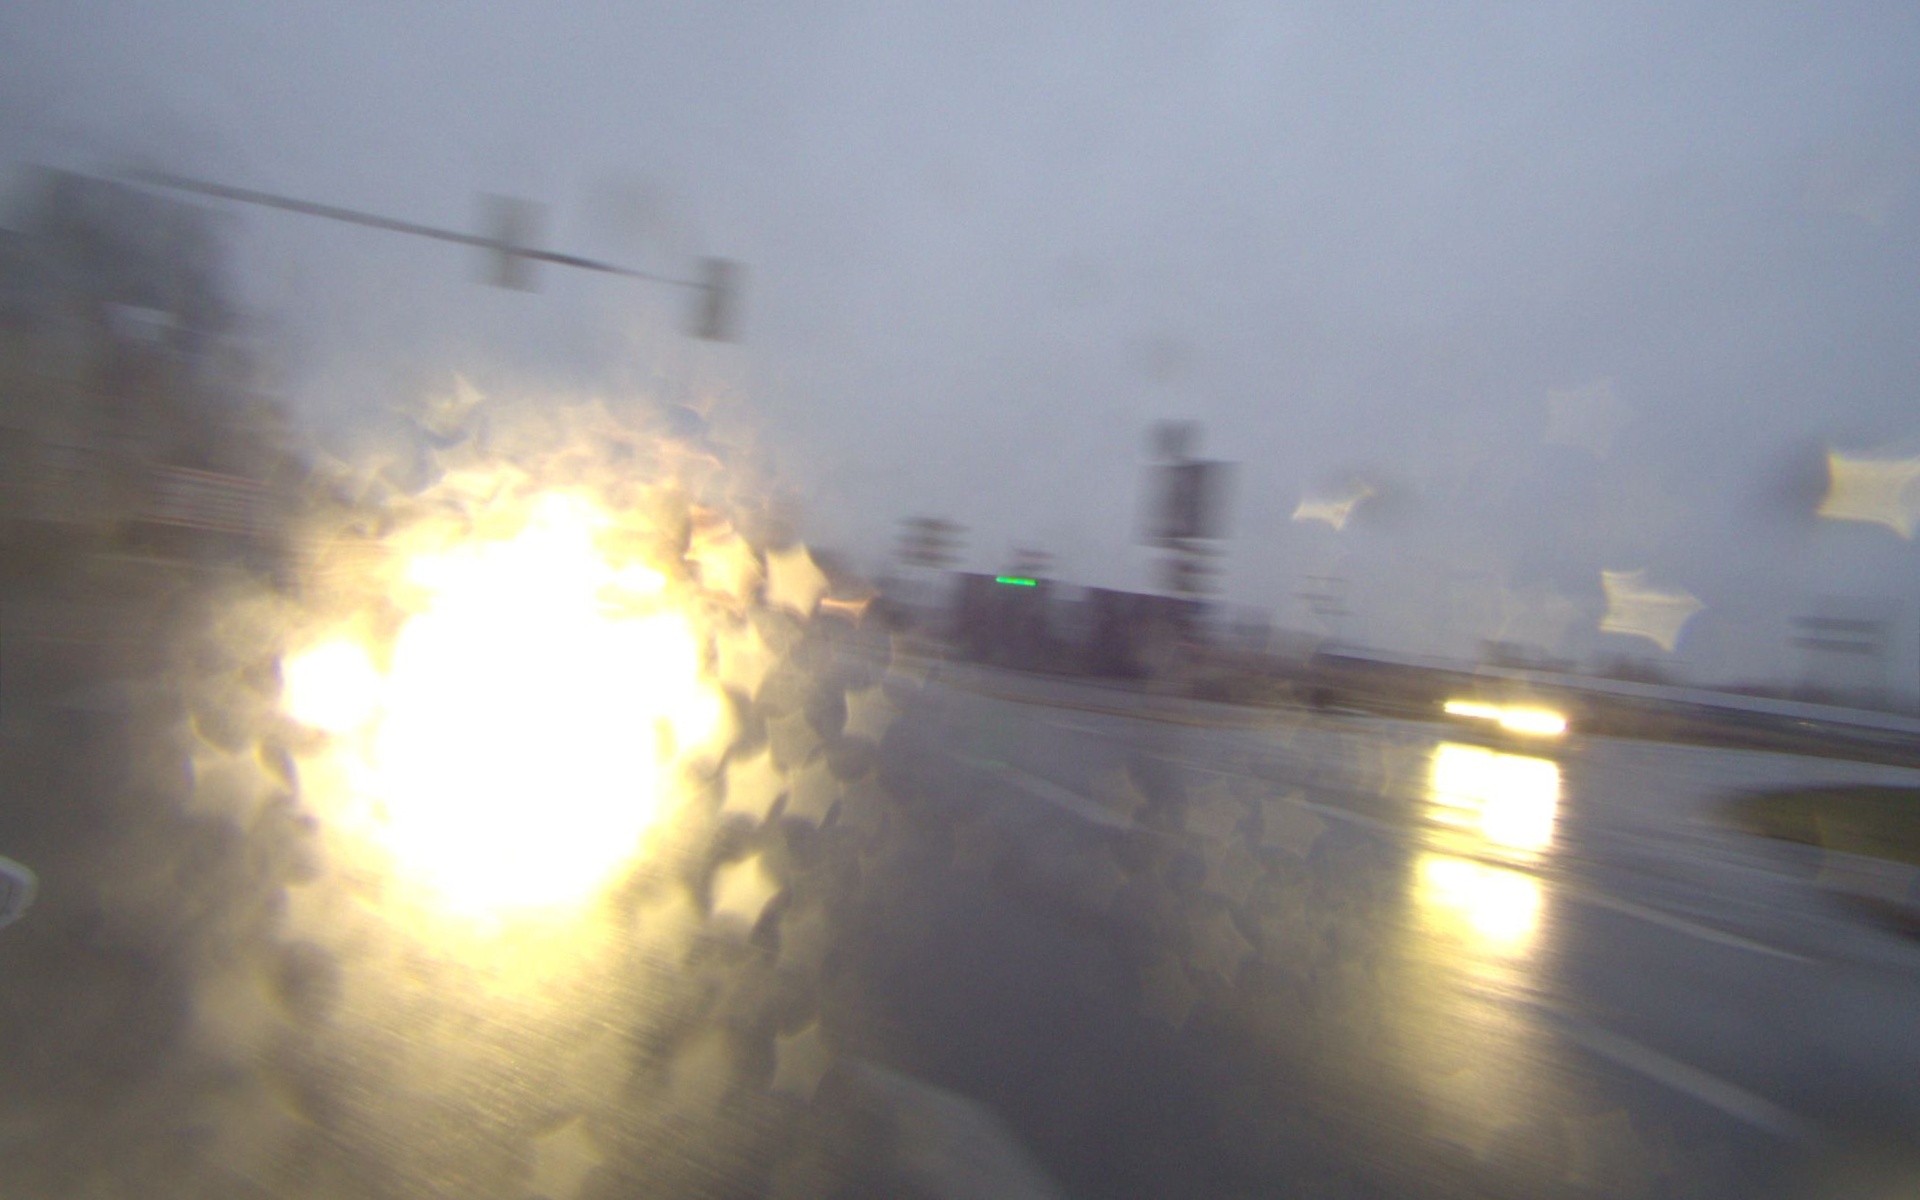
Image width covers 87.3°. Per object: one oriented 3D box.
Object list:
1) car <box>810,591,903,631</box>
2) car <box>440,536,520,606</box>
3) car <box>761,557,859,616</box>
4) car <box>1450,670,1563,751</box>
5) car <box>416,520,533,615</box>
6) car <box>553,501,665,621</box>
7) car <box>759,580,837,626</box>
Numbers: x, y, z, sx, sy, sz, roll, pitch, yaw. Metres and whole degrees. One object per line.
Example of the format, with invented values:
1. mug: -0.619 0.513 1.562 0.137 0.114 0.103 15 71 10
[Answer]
1. car: -5.439 0.575 52.705 4.476 1.549 1.769 6 1 -20
2. car: -14.672 -0.926 30.917 1.809 1.791 3.732 7 0 -22
3. car: -8.743 -0.780 58.931 5.213 2.906 1.762 6 1 -32
4. car: 14.503 2.933 26.600 1.791 1.709 3.903 8 0 39
5. car: -10.973 -0.749 22.999 1.972 1.768 3.979 6 0 -22
6. car: -10.779 -1.161 30.531 2.379 2.925 6.215 9 -1 -23
7. car: -8.949 0.161 55.395 3.937 2.039 1.993 6 1 -15
